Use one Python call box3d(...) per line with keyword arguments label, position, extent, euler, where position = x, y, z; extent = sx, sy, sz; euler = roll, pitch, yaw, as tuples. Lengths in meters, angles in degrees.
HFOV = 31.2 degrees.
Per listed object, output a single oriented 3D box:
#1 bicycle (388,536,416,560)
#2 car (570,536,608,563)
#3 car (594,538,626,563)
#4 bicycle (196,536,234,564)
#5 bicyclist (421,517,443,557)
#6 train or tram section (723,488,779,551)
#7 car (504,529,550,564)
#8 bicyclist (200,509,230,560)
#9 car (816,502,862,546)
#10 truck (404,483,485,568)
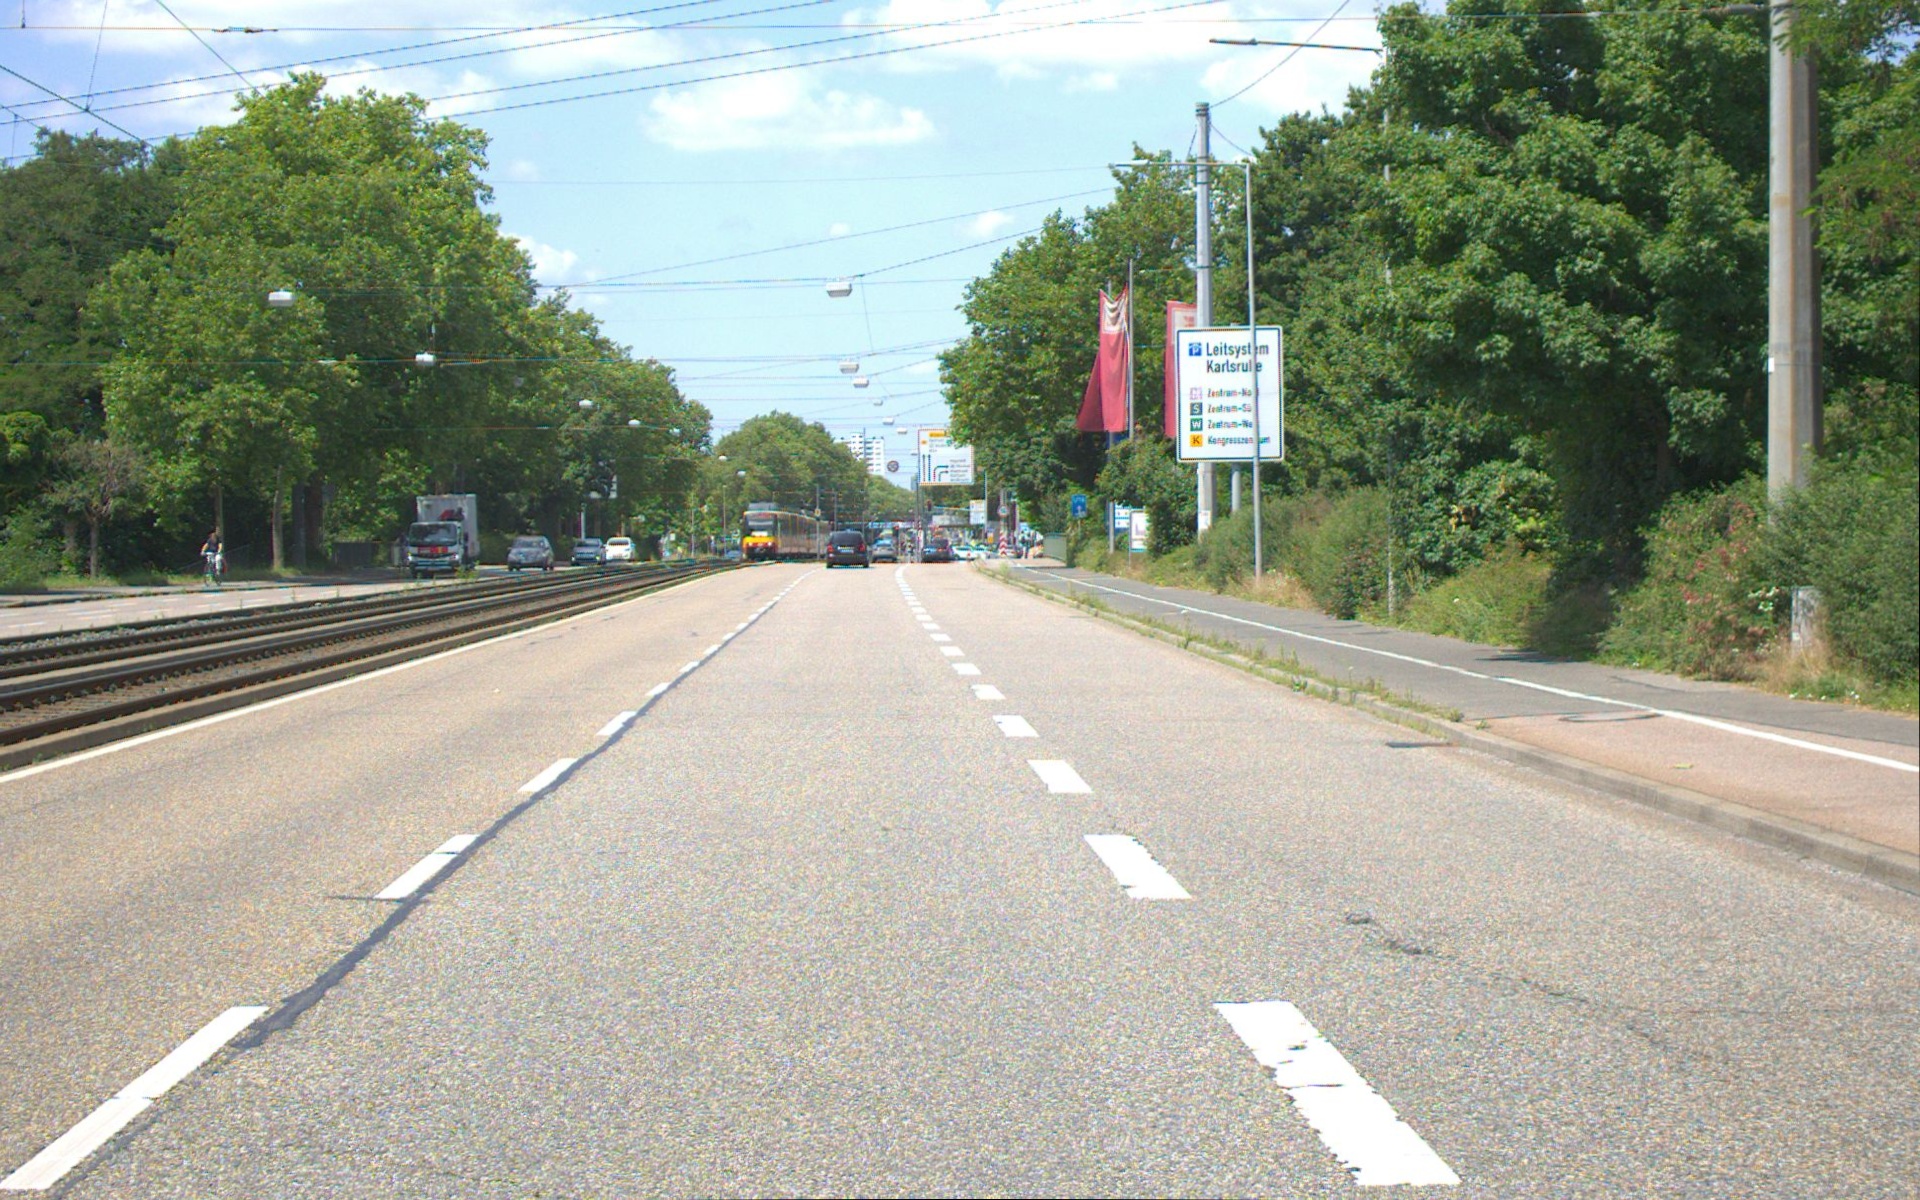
box3d(label="bicycle", position=(-23.191, -2.160, 142.942), extent=(0.623, 0.976, 2.054), euler=(2, 1, 4))
box3d(label="car", position=(-20.081, -2.733, 186.338), extent=(1.636, 1.417, 4.127), euler=(-1, 1, -1))
box3d(label="car", position=(-20.856, -2.970, 205.102), extent=(1.636, 1.431, 3.722), euler=(-2, 1, -2))
box3d(label="bicycle", position=(-23.828, -1.593, 110.027), extent=(0.651, 0.856, 2.120), euler=(1, 1, 2))
box3d(label="bicyclist", position=(-21.935, -2.625, 142.800), extent=(0.623, 1.612, 1.062), euler=(2, 1, 4))
box3d(label="train or tram section", position=(-14.504, -5.614, 239.867), extent=(3.048, 4.252, 15.424), euler=(-1, 1, 0))
box3d(label="car", position=(-19.831, -2.463, 157.511), extent=(1.752, 1.530, 3.958), euler=(-1, 1, -2))
box3d(label="bicyclist", position=(-23.824, -2.098, 109.922), extent=(0.651, 1.614, 1.155), euler=(1, 1, 2))
box3d(label="car", position=(-5.181, -3.248, 147.529), extent=(1.899, 1.799, 3.977), euler=(1, 1, -2))
box3d(label="truck", position=(-20.274, -2.941, 135.356), extent=(2.249, 3.225, 6.042), euler=(-1, 1, 0))
